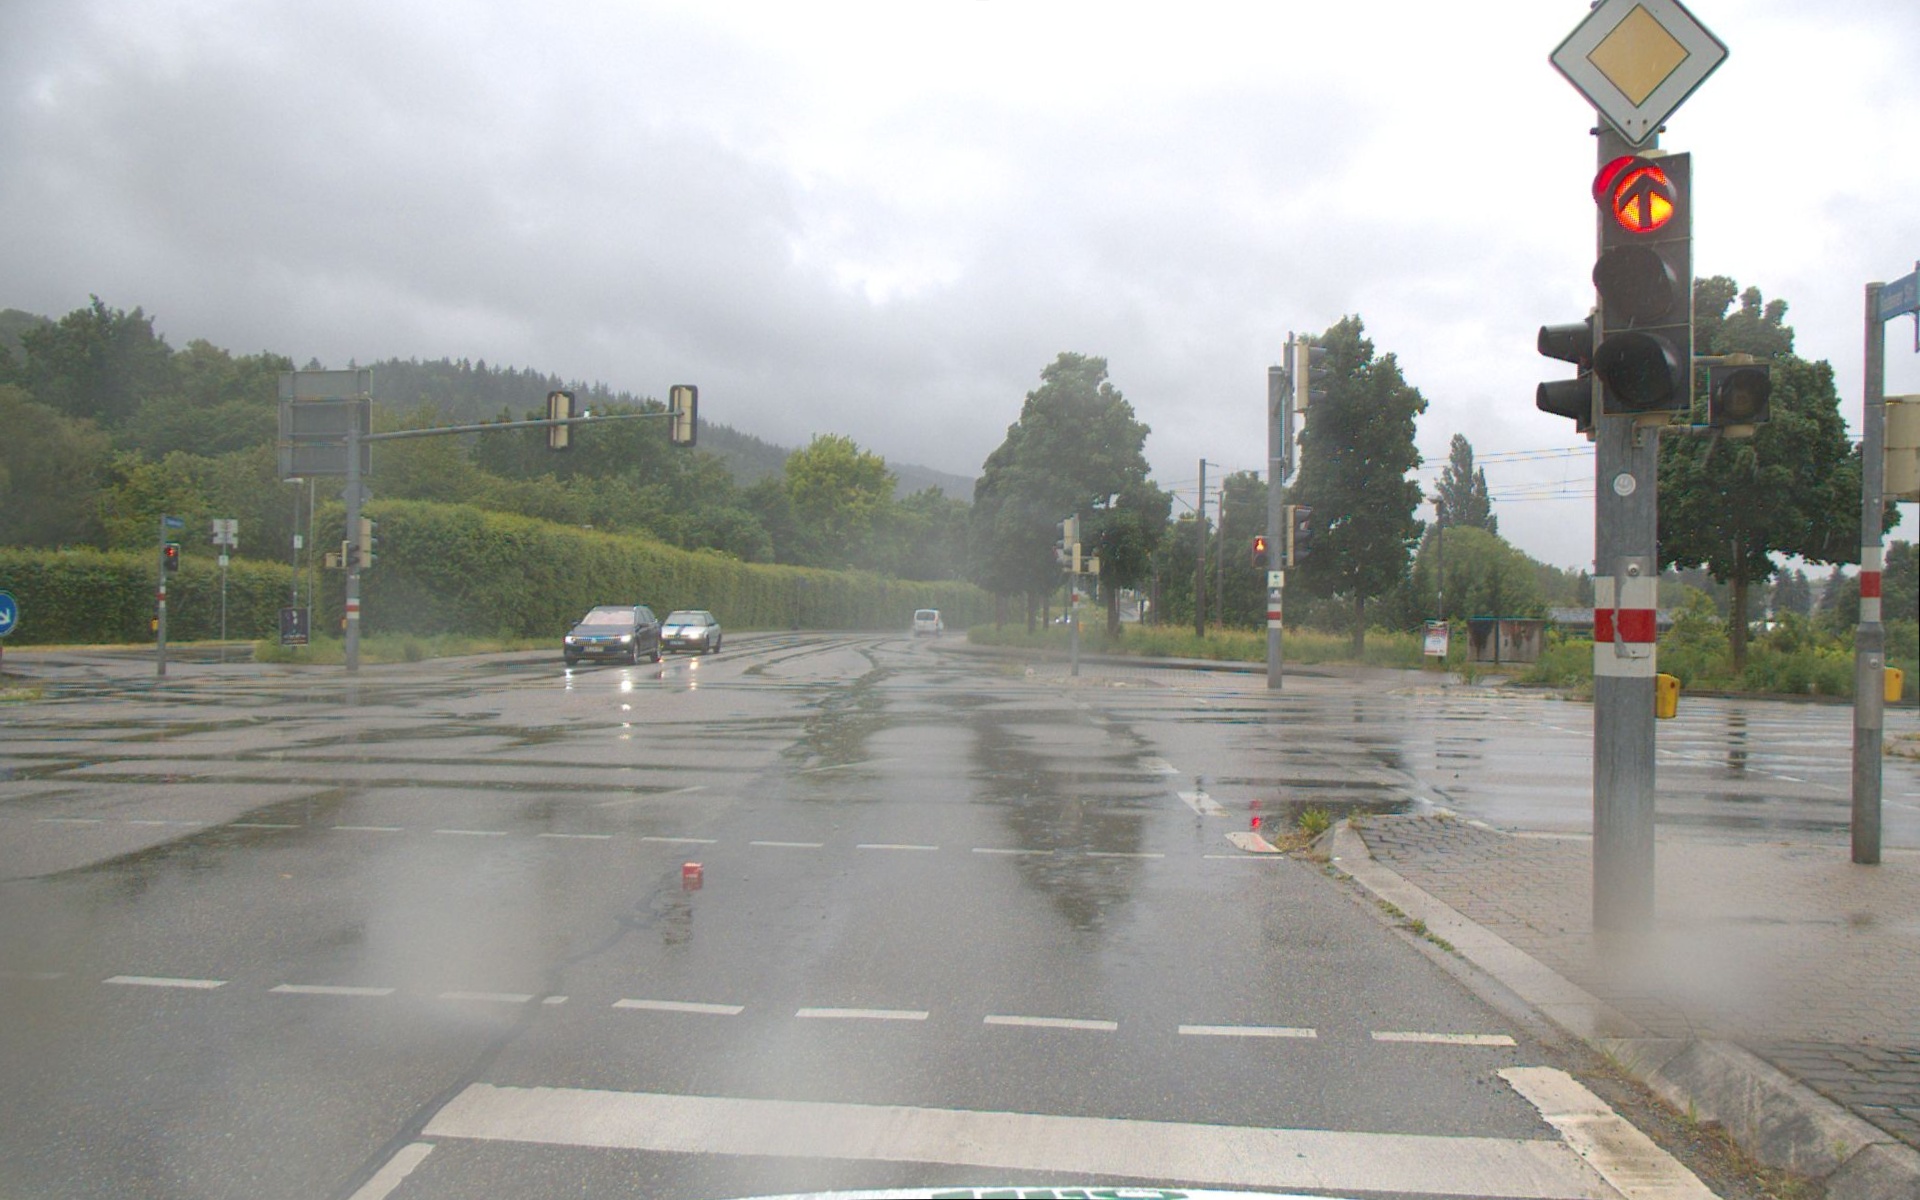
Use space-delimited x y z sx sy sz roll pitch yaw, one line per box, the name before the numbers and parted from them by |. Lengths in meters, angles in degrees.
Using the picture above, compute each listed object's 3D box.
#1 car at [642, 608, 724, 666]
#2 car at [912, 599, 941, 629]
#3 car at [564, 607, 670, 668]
car | -8.950 1.152 53.725 1.995 1.738 4.065 1 0 -1
car | -2.238 0.937 111.259 1.913 1.937 4.119 0 0 -1
car | -8.903 0.945 43.278 1.673 1.491 4.454 0 0 2
